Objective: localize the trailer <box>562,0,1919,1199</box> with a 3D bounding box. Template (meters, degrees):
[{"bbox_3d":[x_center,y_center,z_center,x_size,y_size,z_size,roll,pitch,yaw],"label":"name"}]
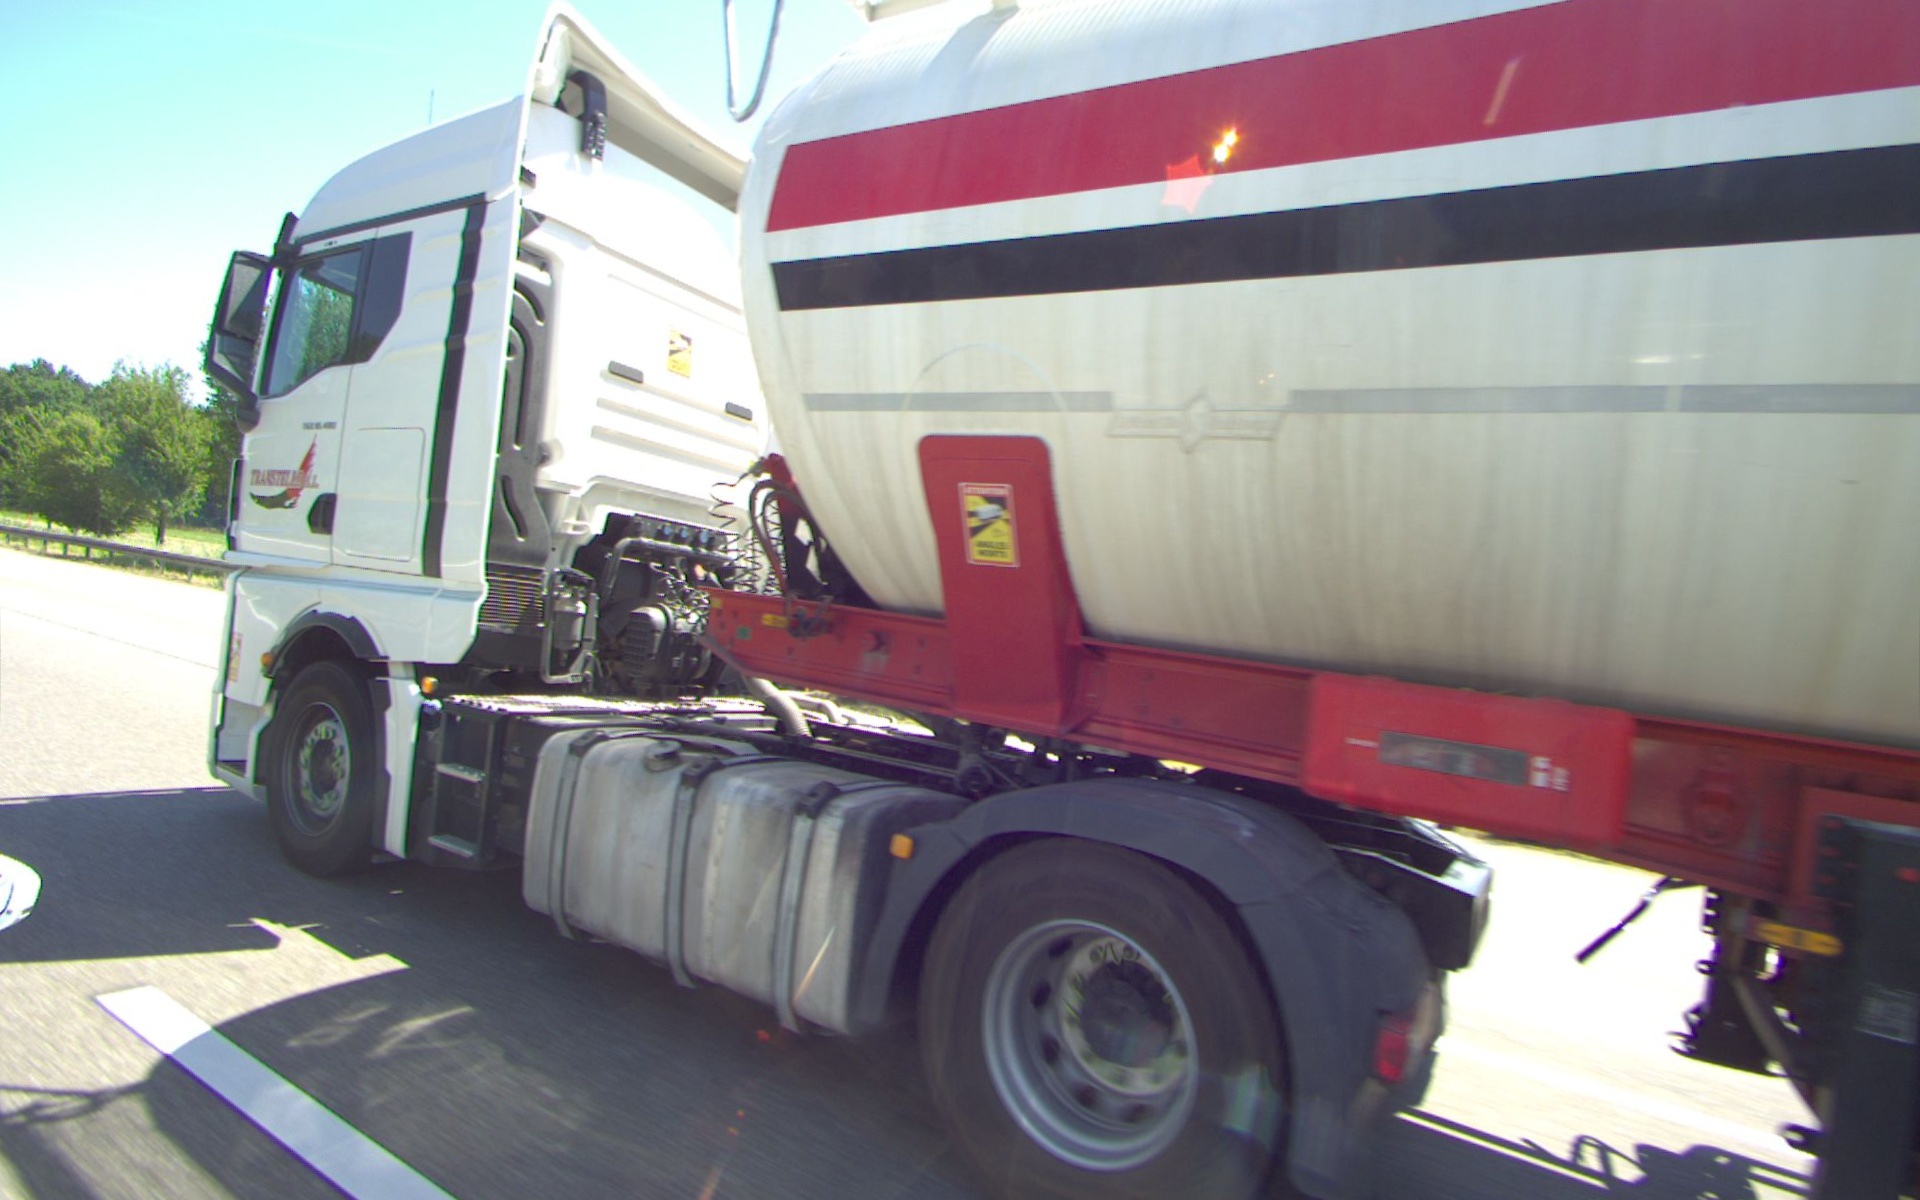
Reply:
[{"bbox_3d":[4.665,-0.144,1.400,12.151,4.256,2.793,7,0,33],"label":"trailer"}]

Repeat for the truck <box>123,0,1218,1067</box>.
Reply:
[{"bbox_3d":[-1.669,-0.852,5.478,4.918,4.256,2.793,7,0,33],"label":"truck"}]
